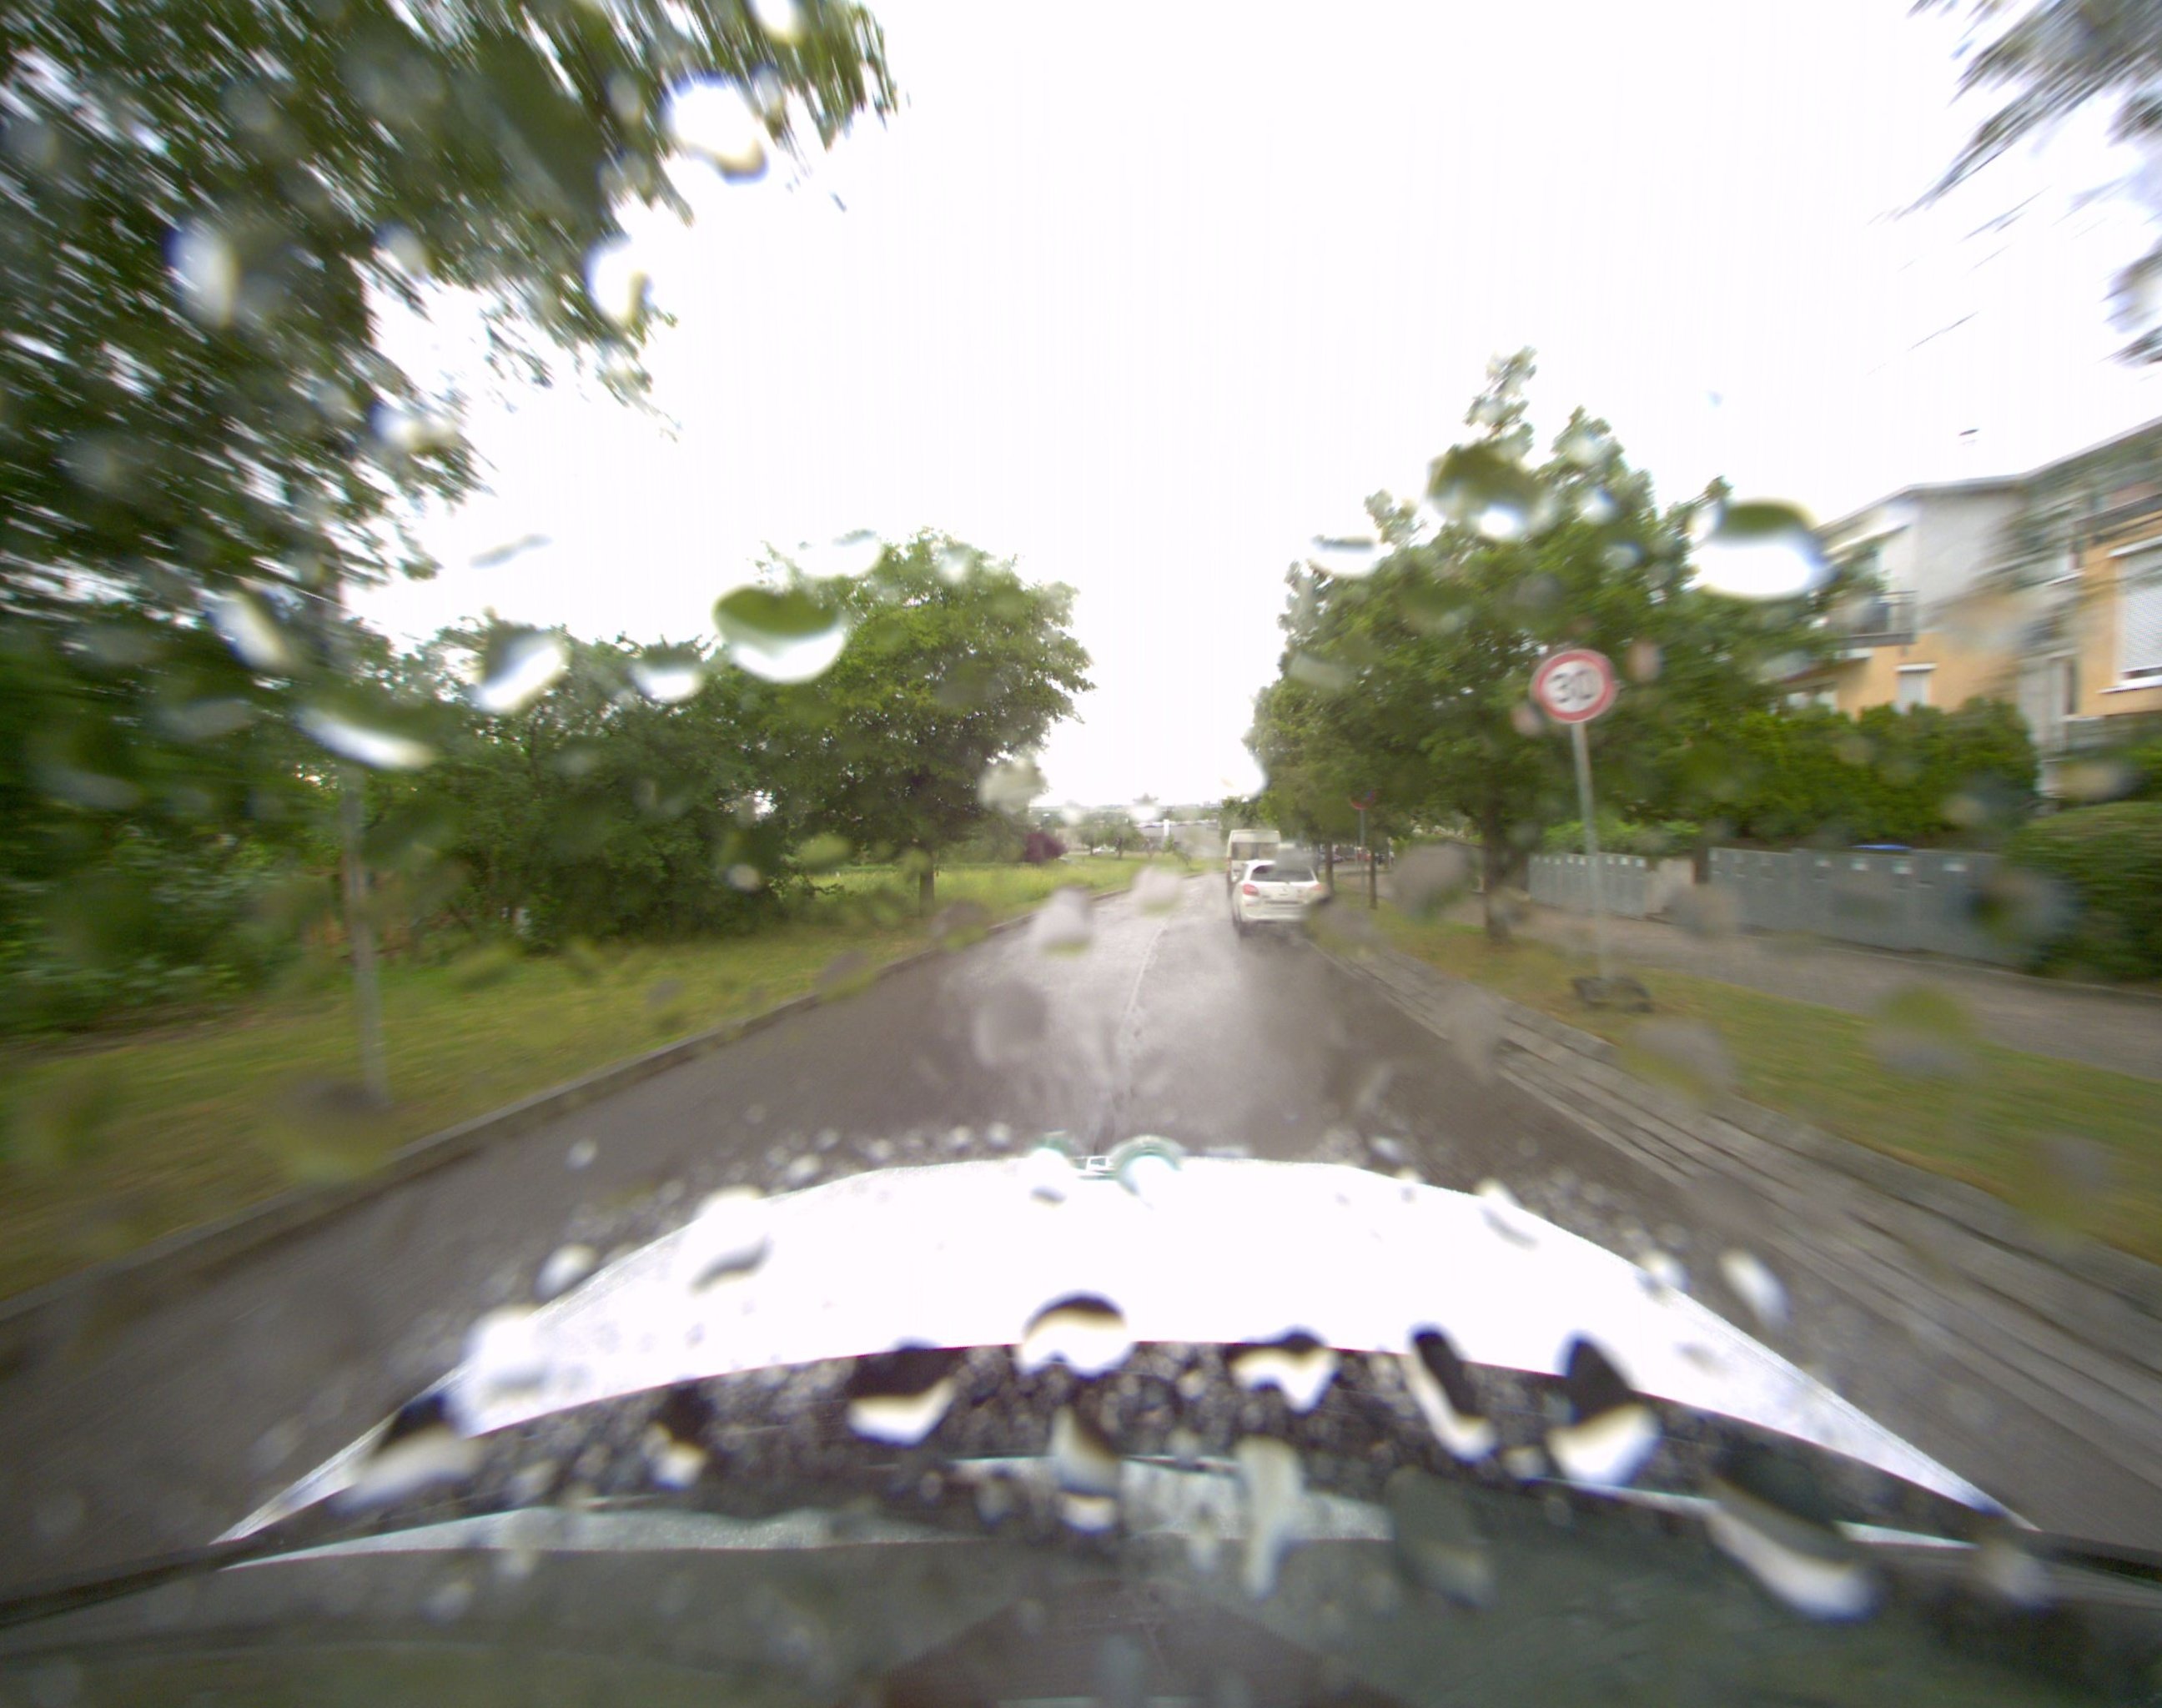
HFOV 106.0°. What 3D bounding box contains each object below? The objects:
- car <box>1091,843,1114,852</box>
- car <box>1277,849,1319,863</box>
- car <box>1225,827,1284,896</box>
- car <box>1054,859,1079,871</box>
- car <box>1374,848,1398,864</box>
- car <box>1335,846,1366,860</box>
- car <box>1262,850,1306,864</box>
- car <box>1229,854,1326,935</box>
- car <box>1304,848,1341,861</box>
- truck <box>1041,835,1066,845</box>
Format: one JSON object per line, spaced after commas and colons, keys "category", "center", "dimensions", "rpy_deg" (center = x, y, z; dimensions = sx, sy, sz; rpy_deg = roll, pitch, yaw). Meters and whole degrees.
{"category": "car", "center": [4.244, -1.259, 161.057], "dimensions": [4.282, 1.701, 1.783], "rpy_deg": [1, 3, -25]}
{"category": "car", "center": [23.272, 0.230, 87.345], "dimensions": [3.949, 1.361, 1.865], "rpy_deg": [-2, 0, 28]}
{"category": "car", "center": [6.837, 0.254, 32.170], "dimensions": [2.104, 2.467, 5.528], "rpy_deg": [0, 0, 12]}
{"category": "car", "center": [-2.091, 1.516, 116.307], "dimensions": [1.787, 1.596, 3.962], "rpy_deg": [-1, 1, -30]}
{"category": "car", "center": [34.273, 0.190, 91.459], "dimensions": [1.670, 1.551, 3.721], "rpy_deg": [1, 3, 35]}
{"category": "car", "center": [34.844, -0.113, 105.333], "dimensions": [3.527, 1.605, 1.703], "rpy_deg": [-2, -1, 31]}
{"category": "car", "center": [21.359, 0.302, 85.596], "dimensions": [4.126, 1.355, 1.874], "rpy_deg": [-2, 0, 28]}
{"category": "car", "center": [3.965, 0.759, 16.938], "dimensions": [1.597, 1.503, 3.734], "rpy_deg": [0, 0, 8]}
{"category": "car", "center": [27.953, 0.062, 94.136], "dimensions": [3.834, 1.547, 1.784], "rpy_deg": [0, 0, 27]}
{"category": "truck", "center": [-6.631, -3.344, 194.836], "dimensions": [5.336, 2.308, 2.416], "rpy_deg": [0, 3, -25]}
